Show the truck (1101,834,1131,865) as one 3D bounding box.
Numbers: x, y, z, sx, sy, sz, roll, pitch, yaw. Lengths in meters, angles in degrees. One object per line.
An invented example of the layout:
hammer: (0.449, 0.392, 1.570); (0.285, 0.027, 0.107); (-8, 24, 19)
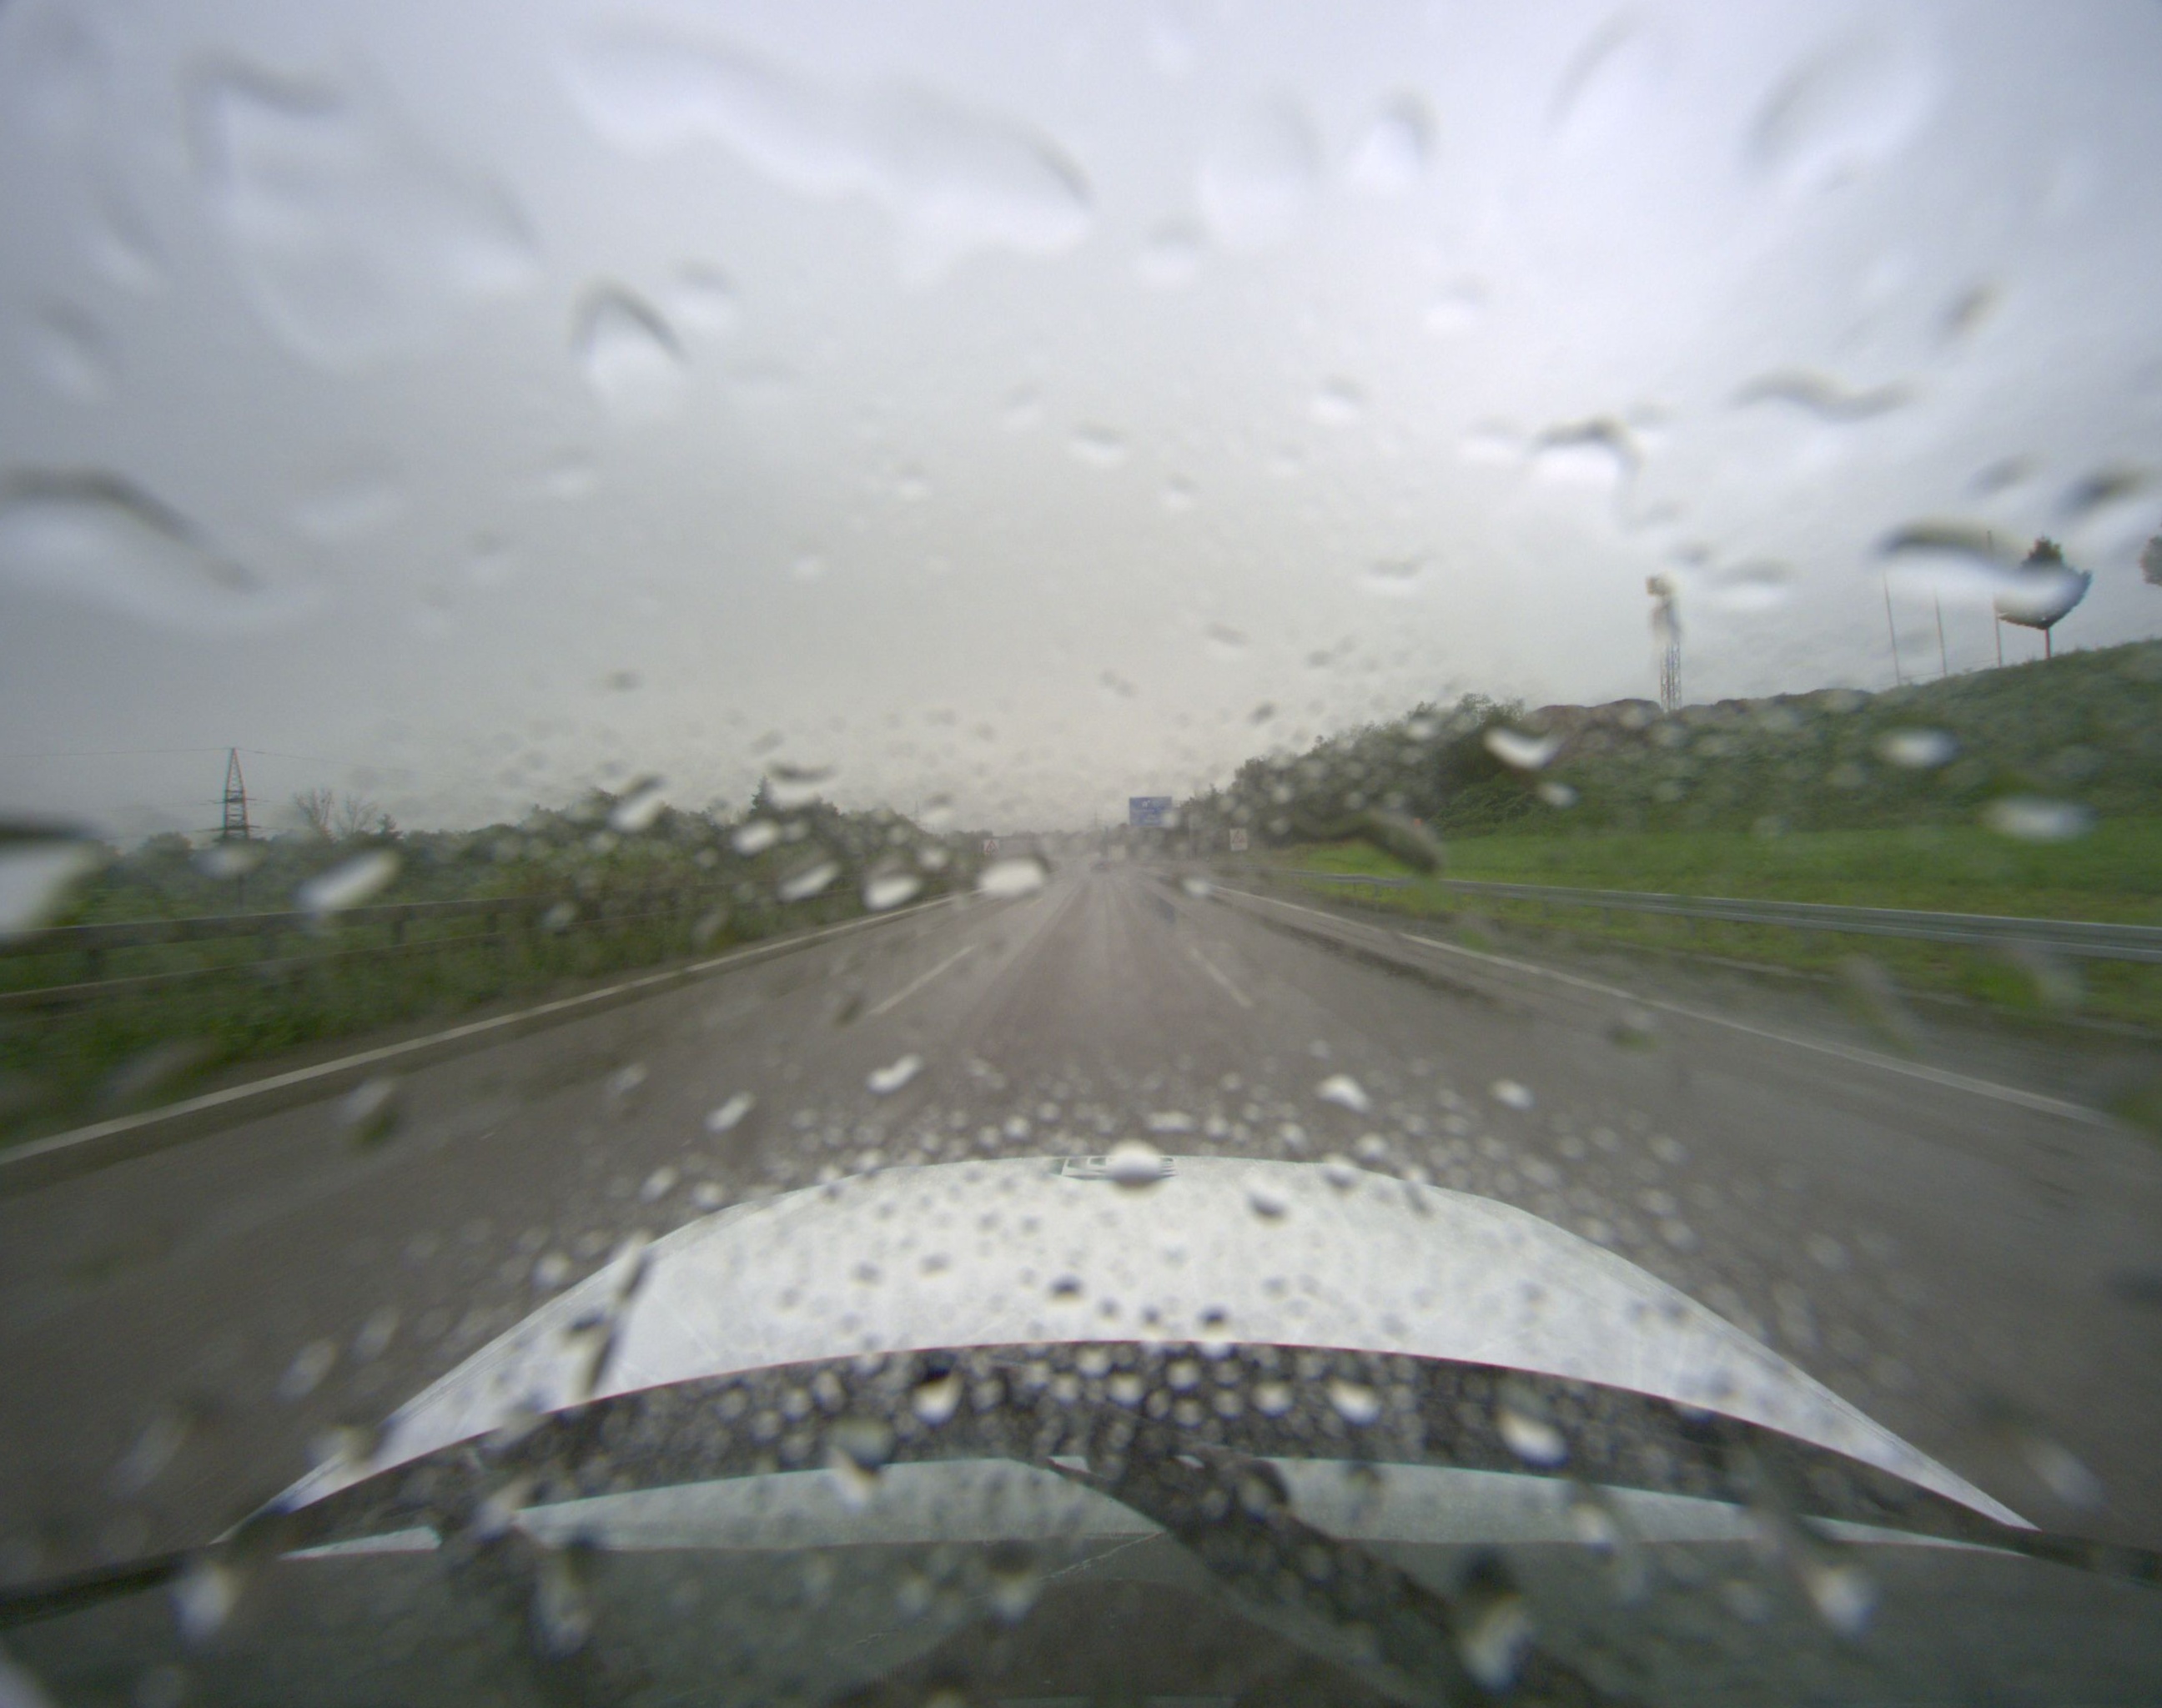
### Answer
truck: (6.243, -0.802, 147.486); (4.243, 4.971, 17.337); (-4, 0, 0)

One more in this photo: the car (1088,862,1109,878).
car: (1.496, 1.411, 71.469); (1.743, 1.212, 4.000); (-3, 0, 1)
